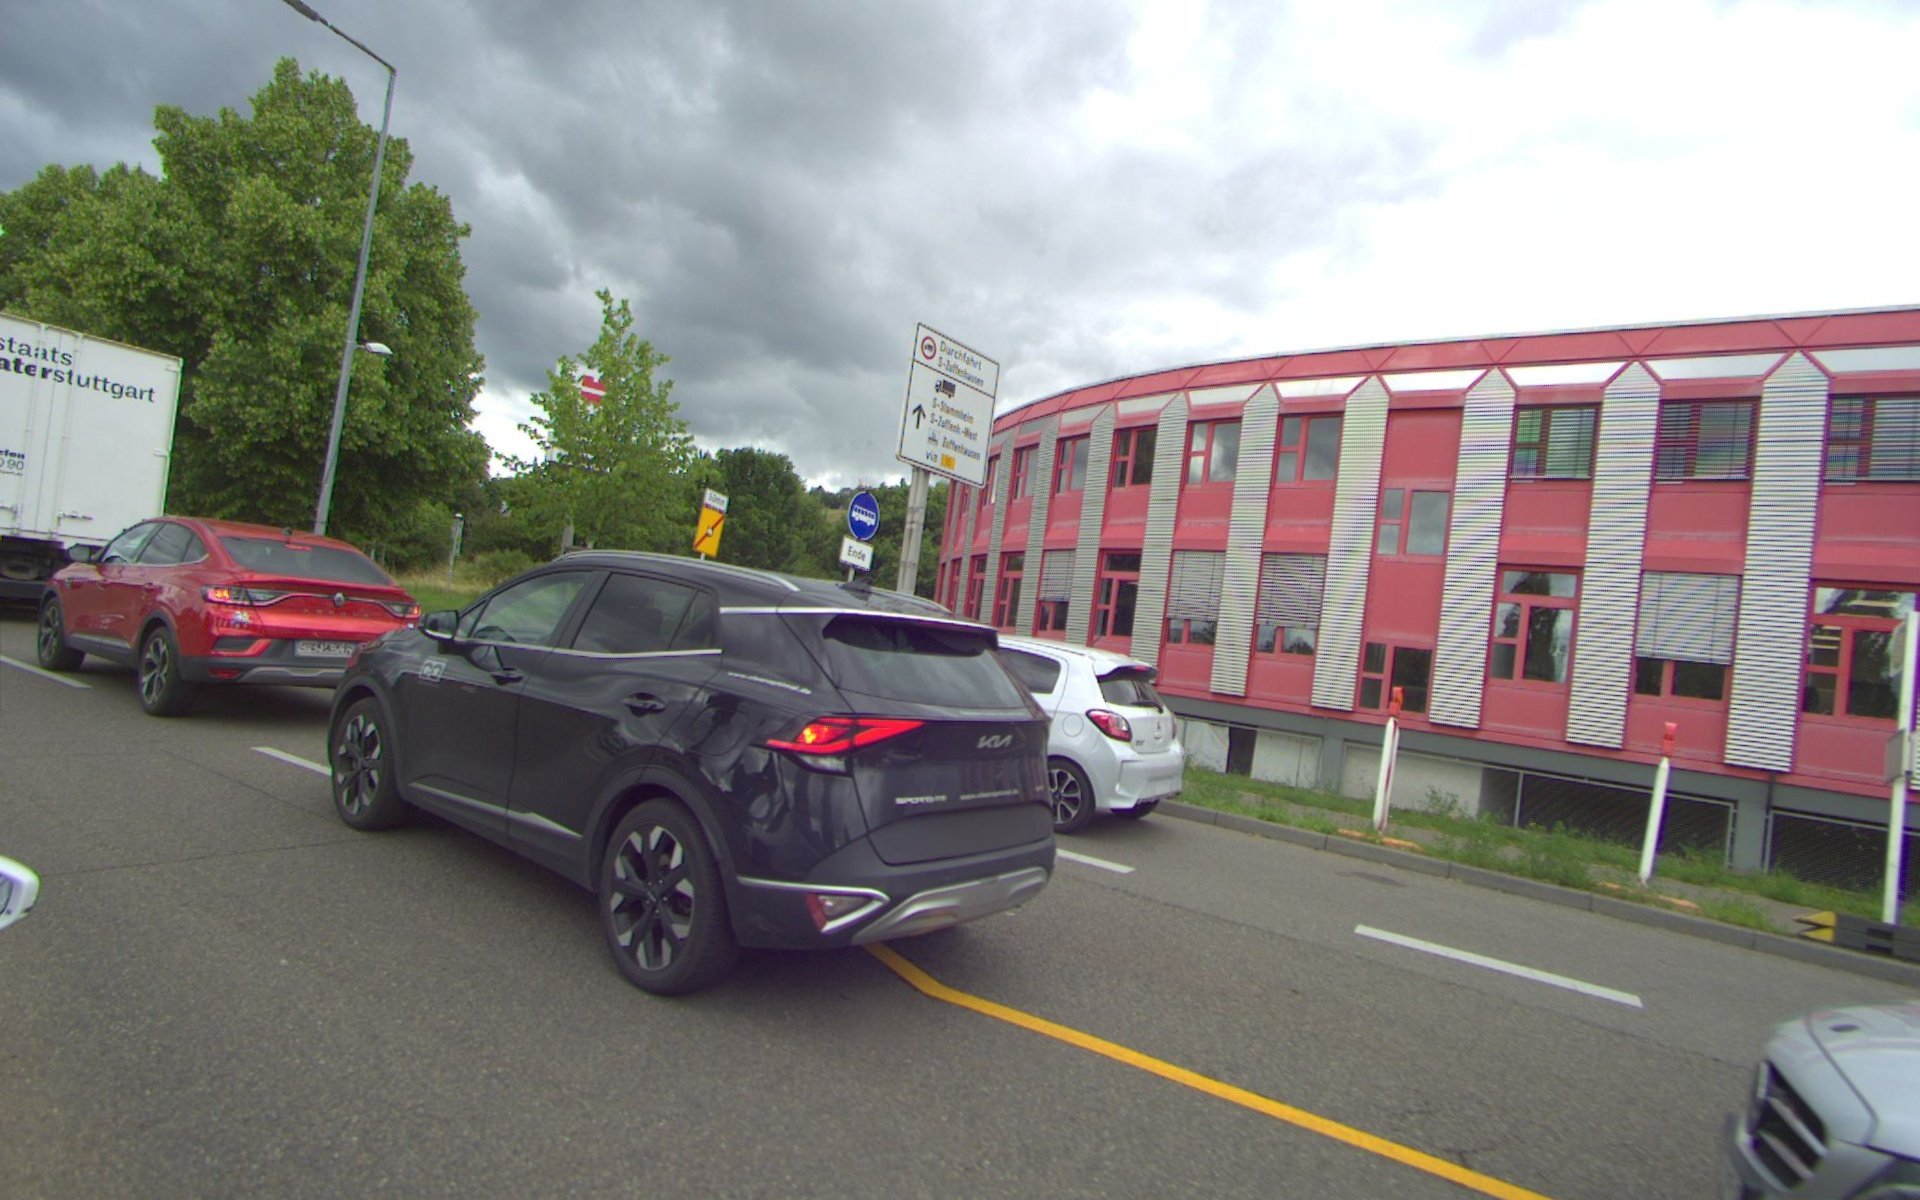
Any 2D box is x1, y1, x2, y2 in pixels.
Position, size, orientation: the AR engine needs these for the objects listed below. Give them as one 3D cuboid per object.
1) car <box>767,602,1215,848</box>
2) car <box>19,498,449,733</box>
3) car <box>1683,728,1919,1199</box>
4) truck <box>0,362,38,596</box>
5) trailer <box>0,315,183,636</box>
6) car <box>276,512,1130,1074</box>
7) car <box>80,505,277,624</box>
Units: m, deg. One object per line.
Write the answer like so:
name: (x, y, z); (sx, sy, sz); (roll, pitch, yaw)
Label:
car: (0.209, 1.011, 9.150); (3.629, 1.474, 1.625); (7, -1, 34)
car: (-6.659, 0.072, 9.079); (4.251, 1.542, 1.709); (6, -1, 35)
car: (3.730, 1.260, 1.252); (4.418, 1.464, 1.673); (7, -1, 35)
truck: (-17.796, -2.247, 16.575); (4.038, 3.750, 2.575); (7, -1, 32)
trailer: (-14.580, -1.873, 14.523); (7.636, 3.750, 2.570); (7, -1, 32)
car: (-1.570, 0.573, 5.183); (4.337, 1.580, 1.845); (7, -1, 37)
car: (-13.769, -0.634, 17.714); (3.008, 1.588, 1.574); (8, -2, 31)
